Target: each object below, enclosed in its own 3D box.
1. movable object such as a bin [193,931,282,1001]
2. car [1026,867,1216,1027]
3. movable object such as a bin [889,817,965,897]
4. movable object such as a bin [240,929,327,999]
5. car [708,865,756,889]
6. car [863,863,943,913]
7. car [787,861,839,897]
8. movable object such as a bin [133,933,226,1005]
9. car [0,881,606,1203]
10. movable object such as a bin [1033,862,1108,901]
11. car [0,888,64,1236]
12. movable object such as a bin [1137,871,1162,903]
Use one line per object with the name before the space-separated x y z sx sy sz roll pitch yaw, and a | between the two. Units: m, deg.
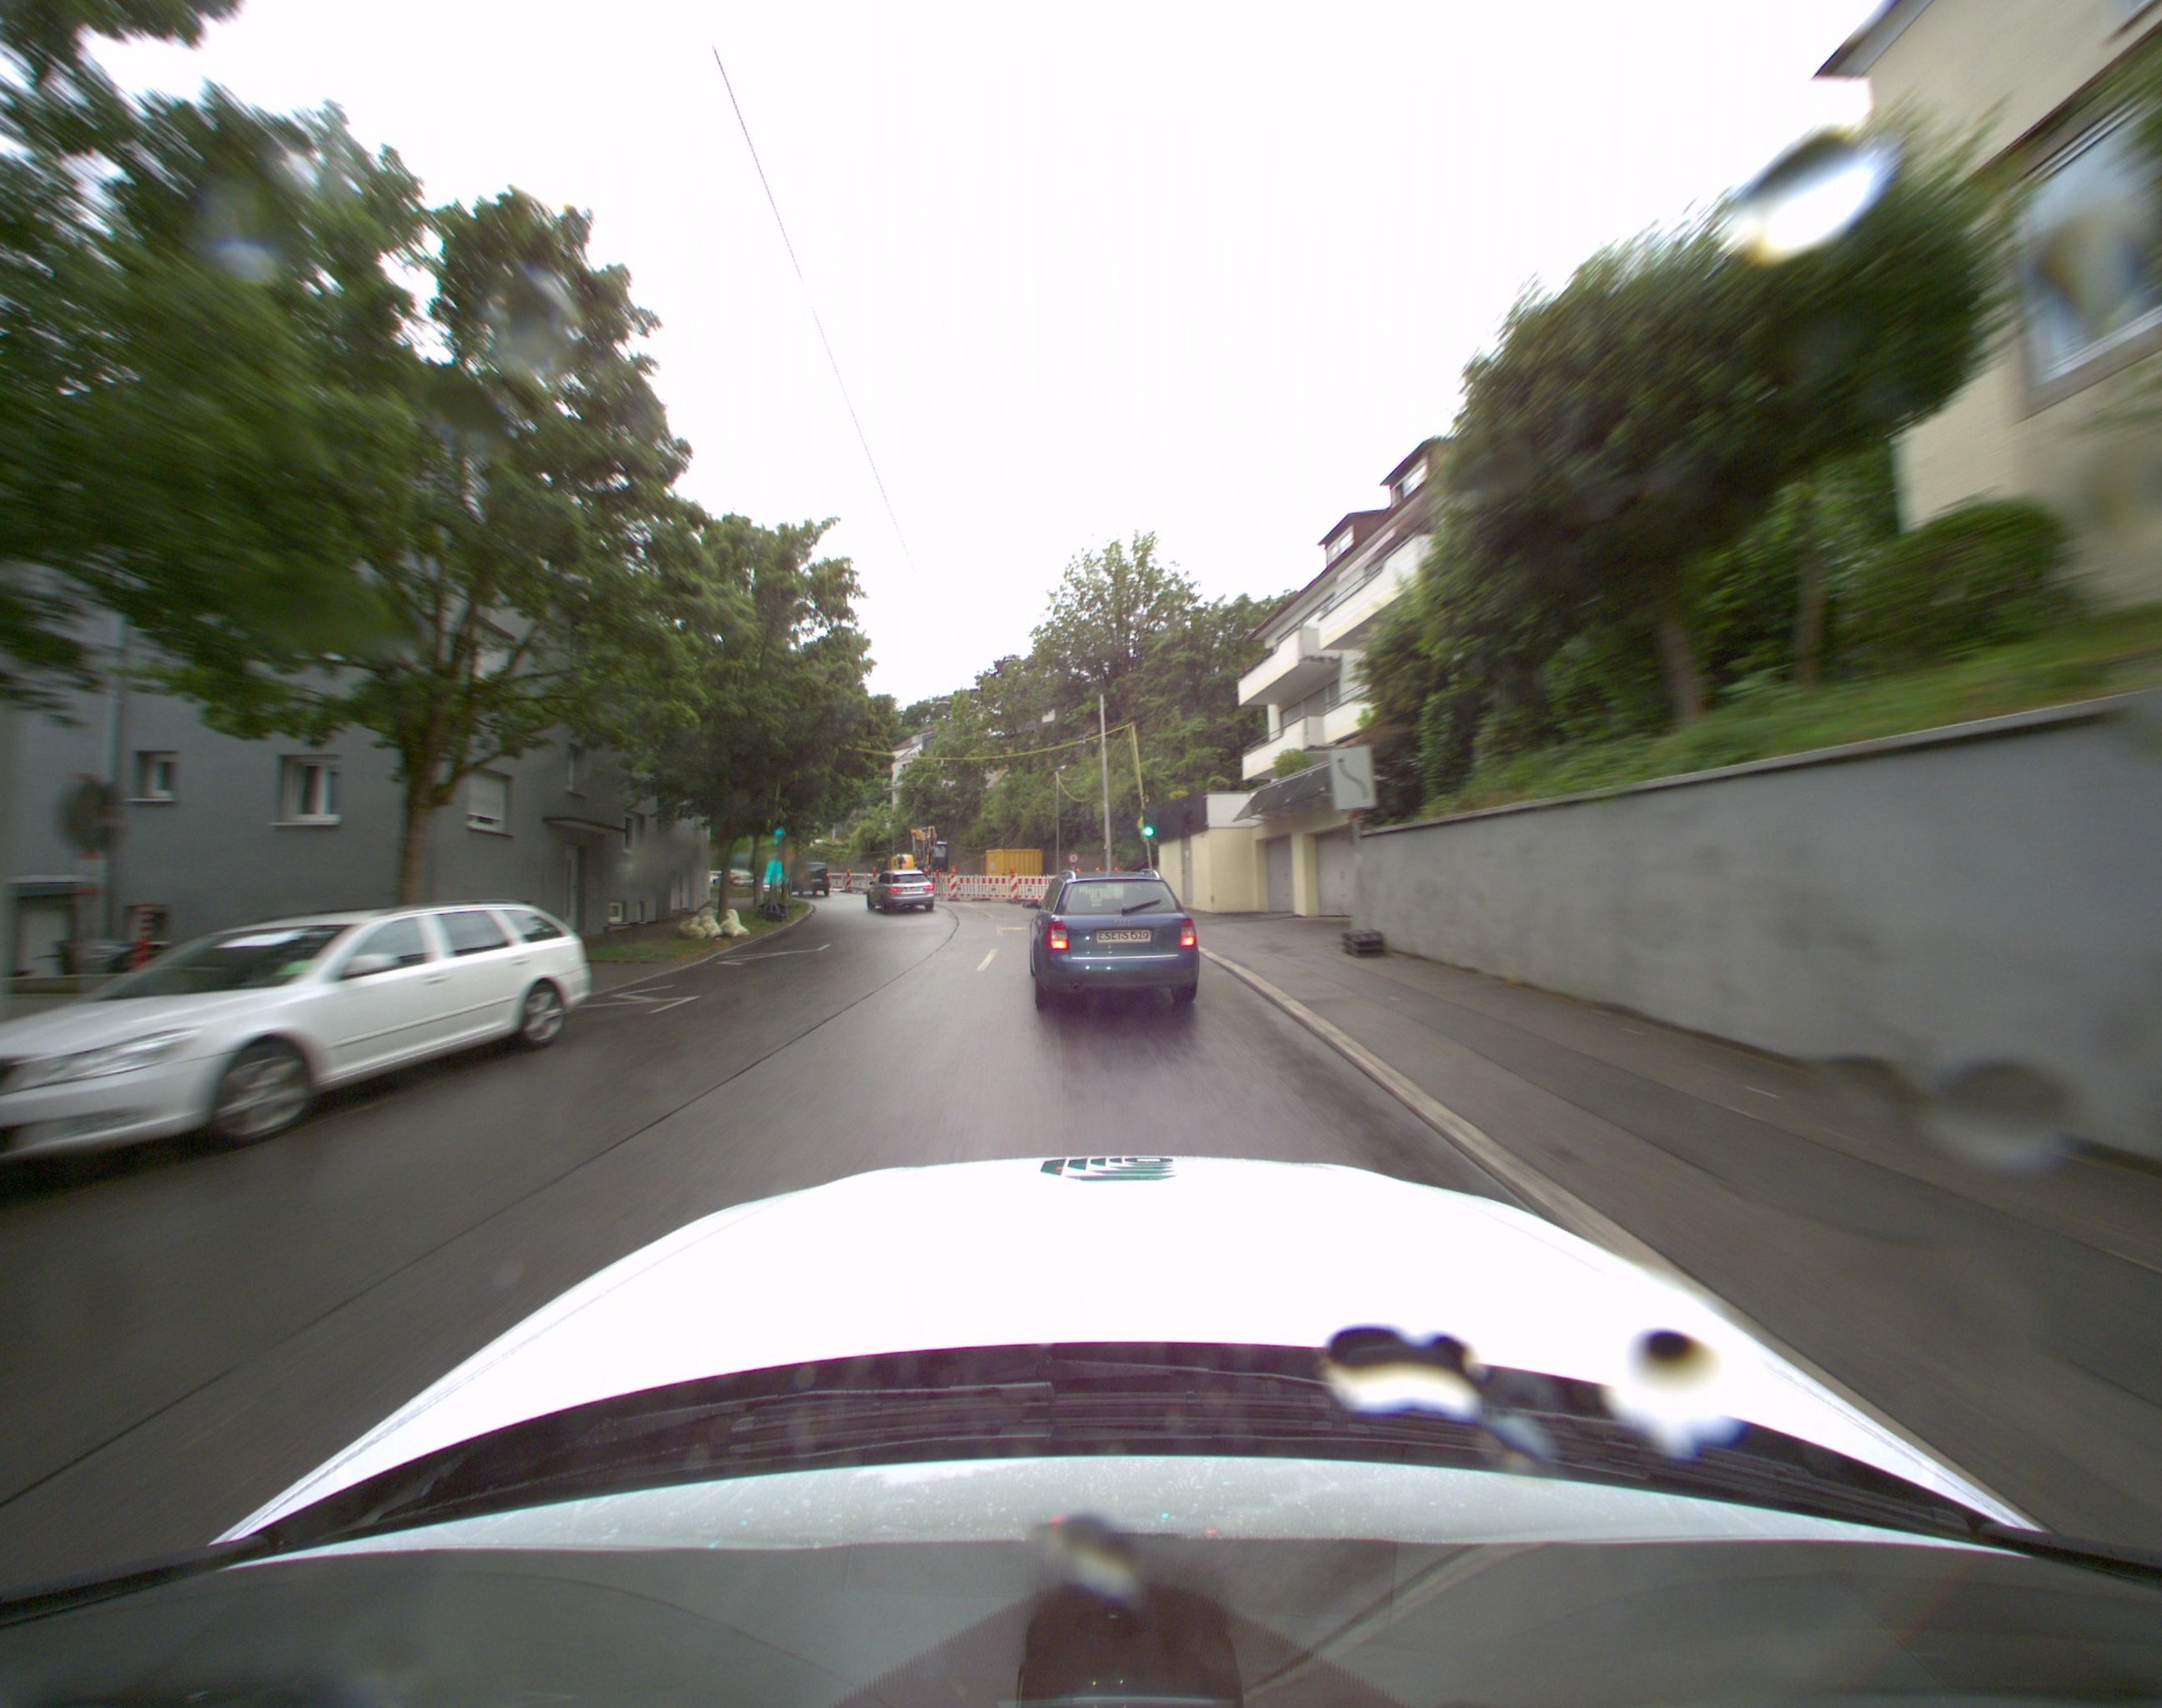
movable object such as a bin | -12.547 1.657 12.127 0.651 0.951 0.646 -2 -1 11
car | 0.260 0.920 9.799 1.782 1.442 3.957 -2 -1 -4
movable object such as a bin | -8.675 0.184 45.175 2.830 4.014 7.275 -2 0 -21
movable object such as a bin | -11.869 1.625 12.129 0.651 0.951 0.646 -2 -1 11
car | -24.699 1.636 57.590 1.736 1.486 4.026 -3 -1 -43
car | -6.562 1.174 29.675 1.936 1.618 4.284 -2 0 -25
car | -15.125 1.412 45.823 2.006 1.794 3.962 -3 -1 -29
movable object such as a bin | -13.264 1.681 11.998 0.651 0.951 0.646 -2 -1 11
car | -6.038 1.155 6.492 1.676 1.508 4.317 -9 0 1
movable object such as a bin | -0.529 1.148 35.084 2.001 1.519 3.972 -1 0 -20
car | -5.966 1.022 1.743 1.675 1.608 4.578 -4 0 1
movable object such as a bin | 2.295 1.102 27.343 0.718 1.032 0.591 -2 -1 -3
